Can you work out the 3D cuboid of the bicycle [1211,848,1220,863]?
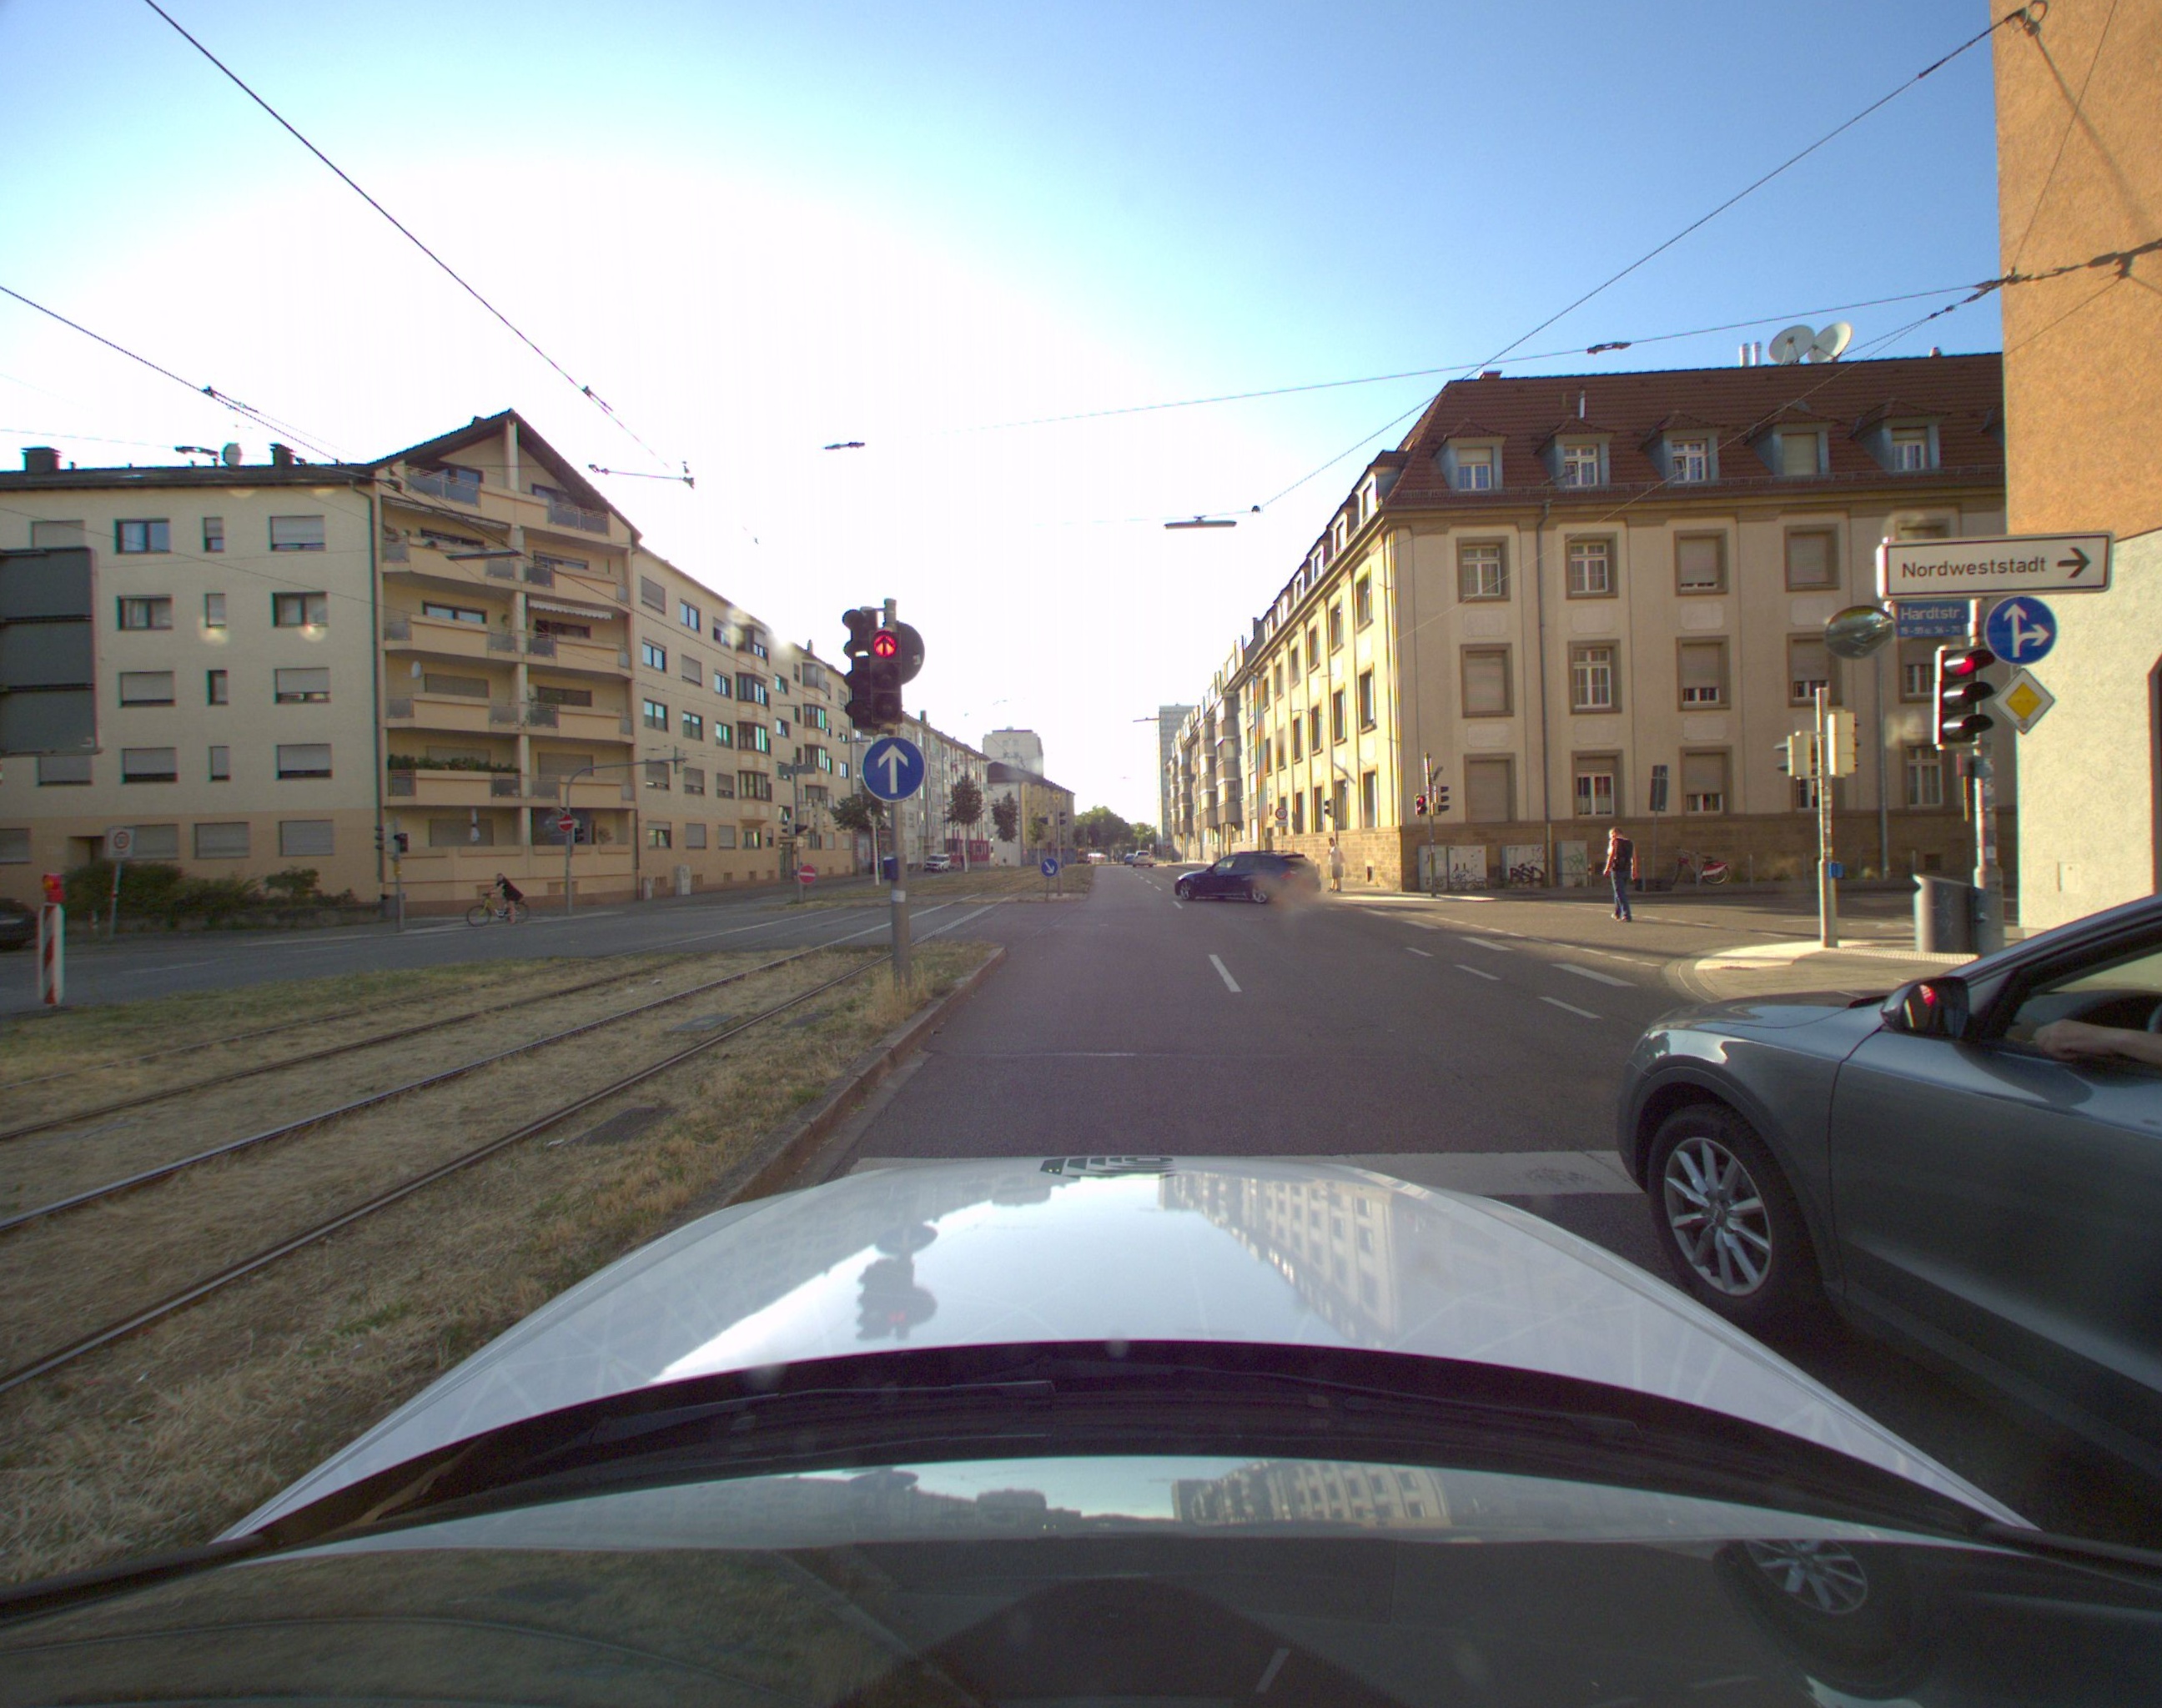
[{"bbox_3d":[10.217,0.147,61.879,0.382,1.096,1.503,-2,-1,0],"label":"bicycle"}]

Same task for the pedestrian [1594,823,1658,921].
[{"bbox_3d":[10.057,0.323,15.055,0.627,1.758,0.826,0,-1,1],"label":"pedestrian"}]

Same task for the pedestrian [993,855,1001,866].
[{"bbox_3d":[-12.655,0.977,122.266,0.957,1.694,1.013,-1,-1,7],"label":"pedestrian"}]

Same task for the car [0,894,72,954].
[{"bbox_3d":[-30.132,1.940,21.528,3.983,1.442,1.996,-2,2,-7],"label":"car"}]

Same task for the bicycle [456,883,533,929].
[{"bbox_3d":[-18.202,1.587,25.323,0.450,1.257,1.883,-1,1,34],"label":"bicycle"}]

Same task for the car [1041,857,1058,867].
[{"bbox_3d":[-5.384,1.313,139.476,1.885,1.633,4.761,-2,0,10],"label":"car"}]

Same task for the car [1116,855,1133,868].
[{"bbox_3d":[5.464,0.887,101.863,1.986,1.554,4.394,0,0,1],"label":"car"}]

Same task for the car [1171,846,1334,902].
[{"bbox_3d":[4.869,0.552,23.525,1.943,1.456,4.275,0,-1,-42],"label":"car"}]

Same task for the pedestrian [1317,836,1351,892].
[{"bbox_3d":[8.092,0.320,26.108,0.832,1.762,0.824,0,-1,1],"label":"pedestrian"}]

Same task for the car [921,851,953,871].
[{"bbox_3d":[-14.520,0.723,82.169,1.984,1.925,4.548,-1,-1,5],"label":"car"}]

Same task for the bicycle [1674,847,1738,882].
[{"bbox_3d":[18.412,0.314,23.999,1.491,1.018,0.251,-1,-1,17],"label":"bicycle"}]

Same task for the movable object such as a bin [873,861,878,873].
[{"bbox_3d":[-17.506,1.103,69.498,0.297,1.036,0.441,0,-1,1],"label":"movable object such as a bin"}]

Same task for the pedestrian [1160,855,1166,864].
[{"bbox_3d":[11.087,0.701,109.928,0.688,1.234,0.737,0,-1,2],"label":"pedestrian"}]

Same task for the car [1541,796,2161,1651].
[{"bbox_3d":[2.809,0.671,1.470,1.691,1.552,4.227,0,0,2],"label":"car"}]

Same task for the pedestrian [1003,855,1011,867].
[{"bbox_3d":[-11.190,1.059,123.168,0.957,1.670,1.013,-1,-1,7],"label":"pedestrian"}]

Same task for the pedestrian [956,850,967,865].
[{"bbox_3d":[-14.315,0.398,97.319,1.268,1.761,1.271,0,-1,-8],"label":"pedestrian"}]

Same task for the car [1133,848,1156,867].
[{"bbox_3d":[5.655,0.319,73.058,1.985,1.564,4.003,0,-1,3],"label":"car"}]

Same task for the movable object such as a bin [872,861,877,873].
[{"bbox_3d":[-17.508,1.111,68.930,0.297,1.036,0.441,0,-1,1],"label":"movable object such as a bin"}]

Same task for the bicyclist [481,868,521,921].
[{"bbox_3d":[-18.129,1.260,25.462,0.620,1.586,0.814,-1,0,35],"label":"bicyclist"}]
